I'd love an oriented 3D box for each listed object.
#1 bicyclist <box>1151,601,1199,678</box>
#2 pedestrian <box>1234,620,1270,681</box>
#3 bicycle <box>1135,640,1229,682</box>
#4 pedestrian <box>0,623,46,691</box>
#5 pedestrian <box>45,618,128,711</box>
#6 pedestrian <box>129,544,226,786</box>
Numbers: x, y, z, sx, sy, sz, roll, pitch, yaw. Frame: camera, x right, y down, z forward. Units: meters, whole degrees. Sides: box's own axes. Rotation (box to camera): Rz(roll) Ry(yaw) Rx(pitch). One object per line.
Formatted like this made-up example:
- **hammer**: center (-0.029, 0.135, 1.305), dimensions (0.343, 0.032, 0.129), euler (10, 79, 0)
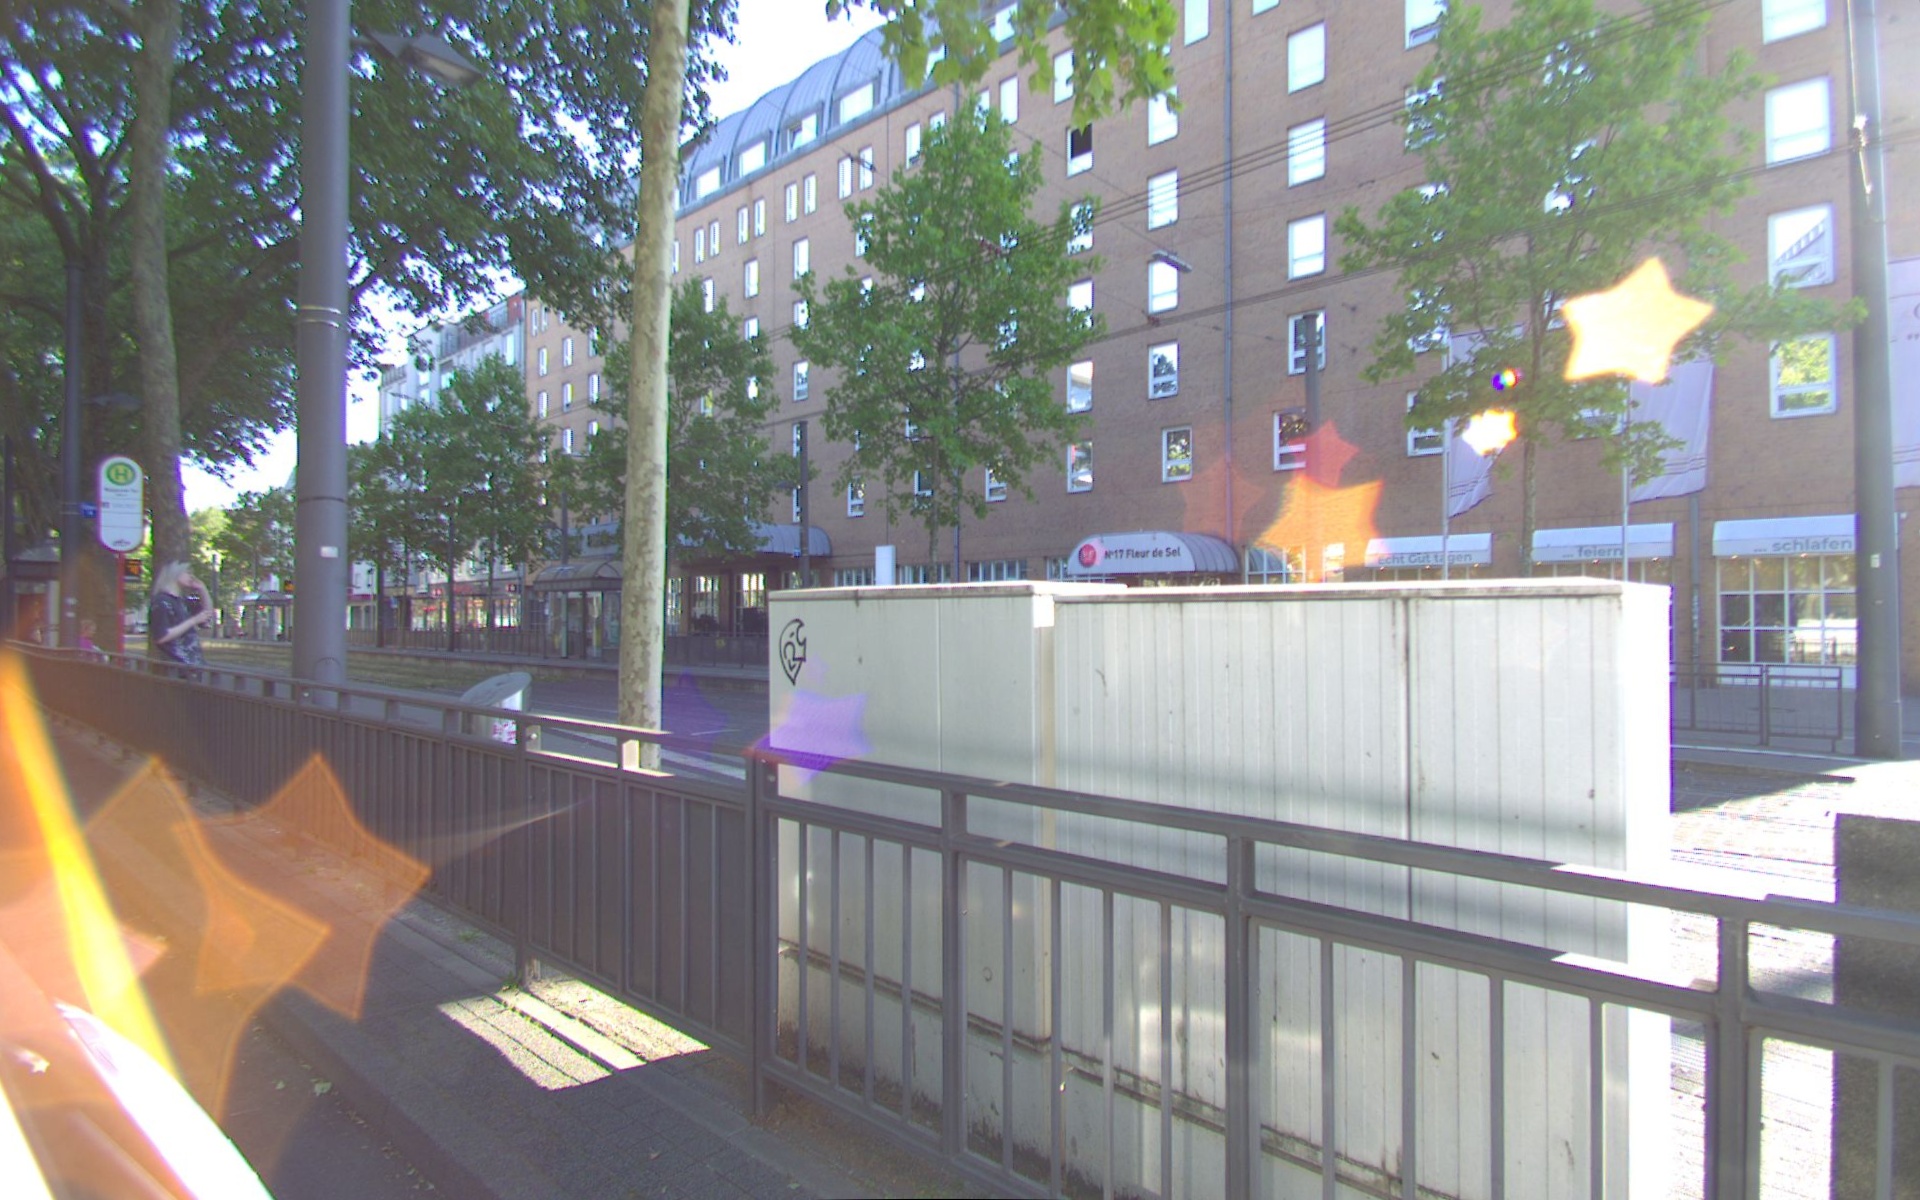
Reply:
- **bicyclist**: center (5.179, 0.946, 24.418), dimensions (0.853, 1.799, 0.741), euler (-2, -3, 45)
- **pedestrian**: center (7.888, 1.349, 27.331), dimensions (0.725, 1.596, 0.583), euler (-2, 0, 40)
- **bicycle**: center (5.301, 1.439, 24.276), dimensions (2.185, 0.940, 0.658), euler (-2, -2, 44)
- **pedestrian**: center (-20.146, 1.207, 21.739), dimensions (0.725, 1.398, 0.641), euler (-1, 0, -44)
- **pedestrian**: center (-14.055, 1.009, 16.282), dimensions (0.965, 1.410, 0.665), euler (-1, 0, -44)
- **pedestrian**: center (-6.549, 0.517, 8.466), dimensions (0.760, 1.914, 0.504), euler (-1, 0, 42)
